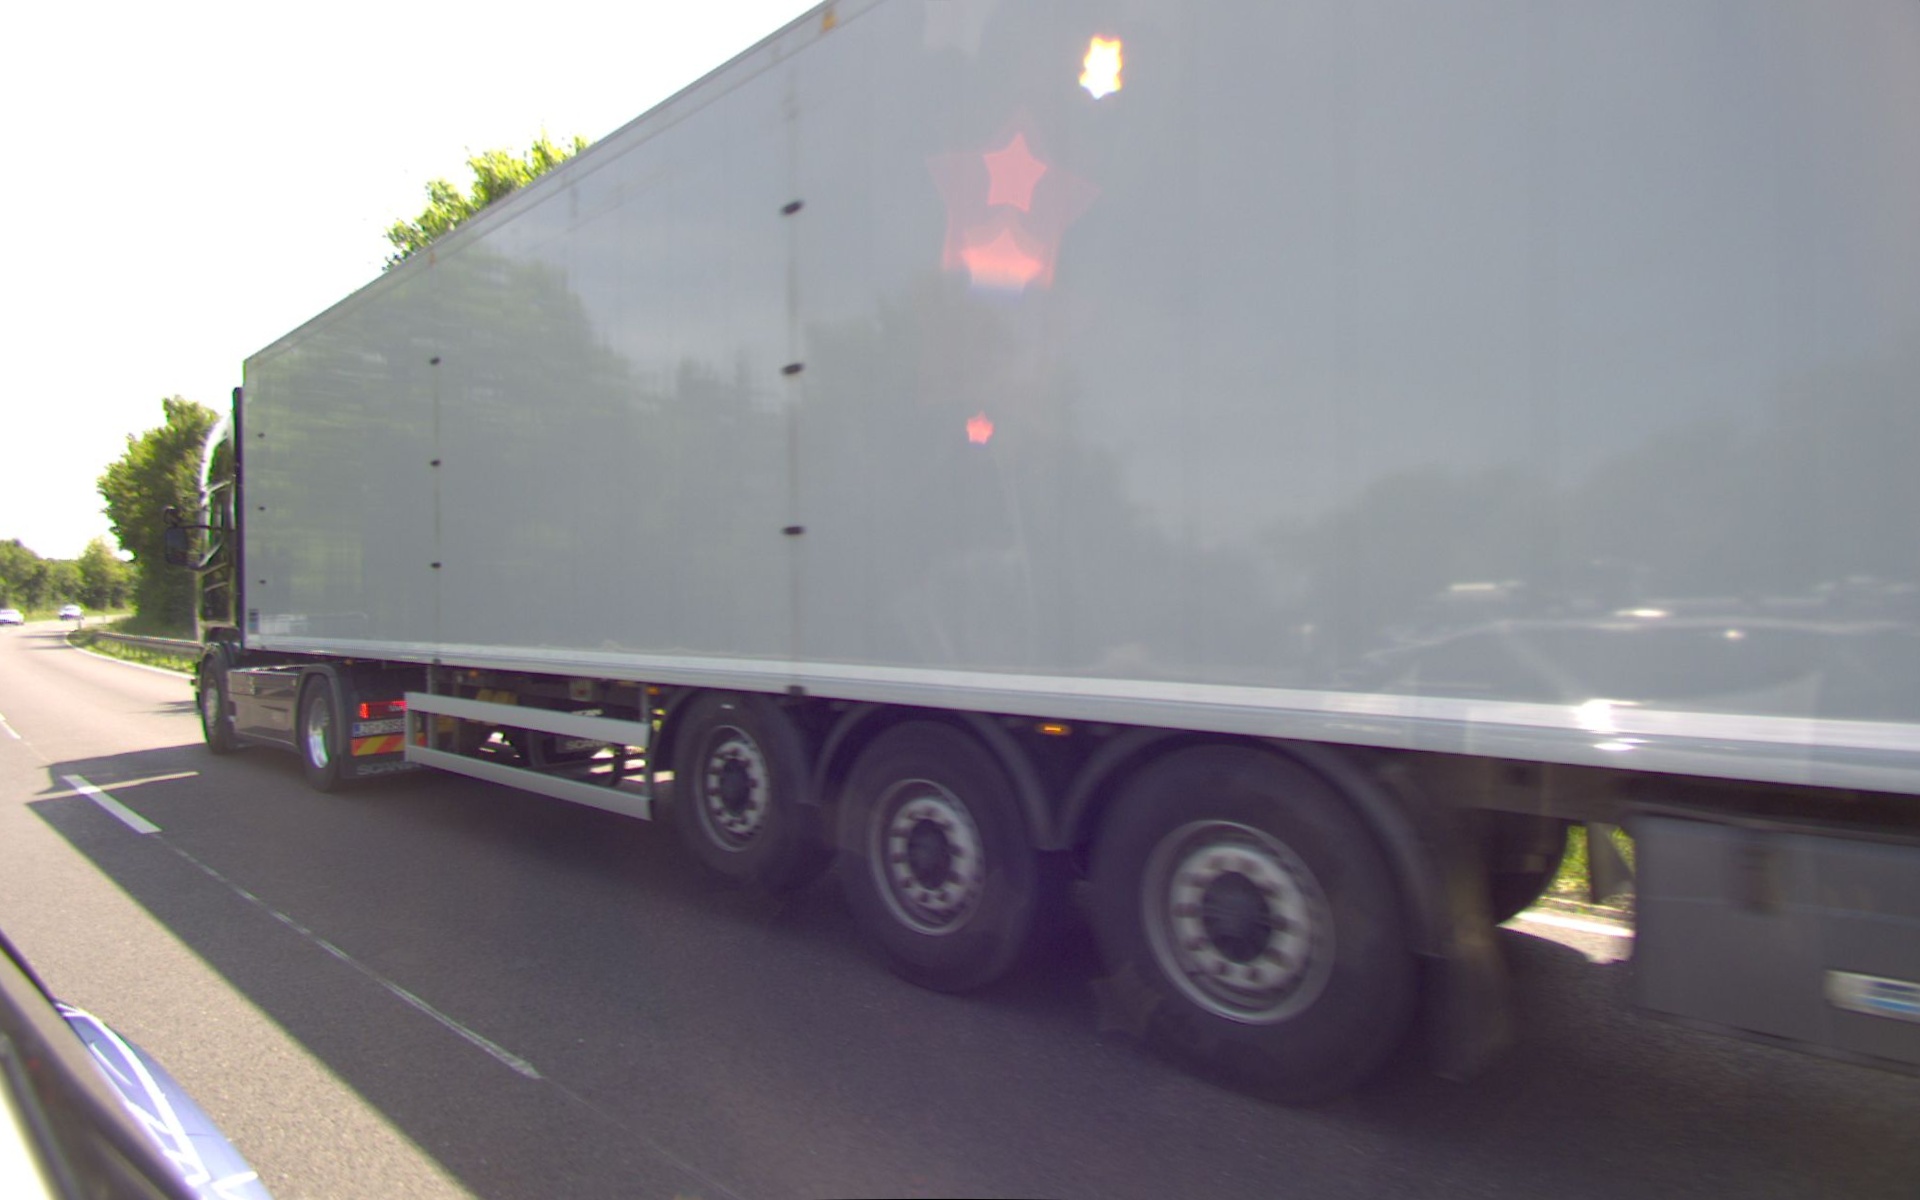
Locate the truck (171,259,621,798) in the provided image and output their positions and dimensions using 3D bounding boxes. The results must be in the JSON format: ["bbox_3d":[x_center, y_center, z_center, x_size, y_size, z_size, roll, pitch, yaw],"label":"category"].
[{"bbox_3d":[-6.189,-0.509,10.714,5.646,4.227,2.420,-2,-1,41],"label":"truck"}]

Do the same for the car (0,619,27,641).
[{"bbox_3d":[-91.910,2.875,97.680,1.966,2.029,4.011,0,-1,-32],"label":"car"}]

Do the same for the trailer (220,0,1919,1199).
[{"bbox_3d":[-1.366,-0.619,6.411,14.008,4.216,2.420,-2,-1,41],"label":"trailer"}]

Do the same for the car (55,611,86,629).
[{"bbox_3d":[-108.086,2.390,122.945,1.966,2.029,4.013,-1,0,-29],"label":"car"}]
